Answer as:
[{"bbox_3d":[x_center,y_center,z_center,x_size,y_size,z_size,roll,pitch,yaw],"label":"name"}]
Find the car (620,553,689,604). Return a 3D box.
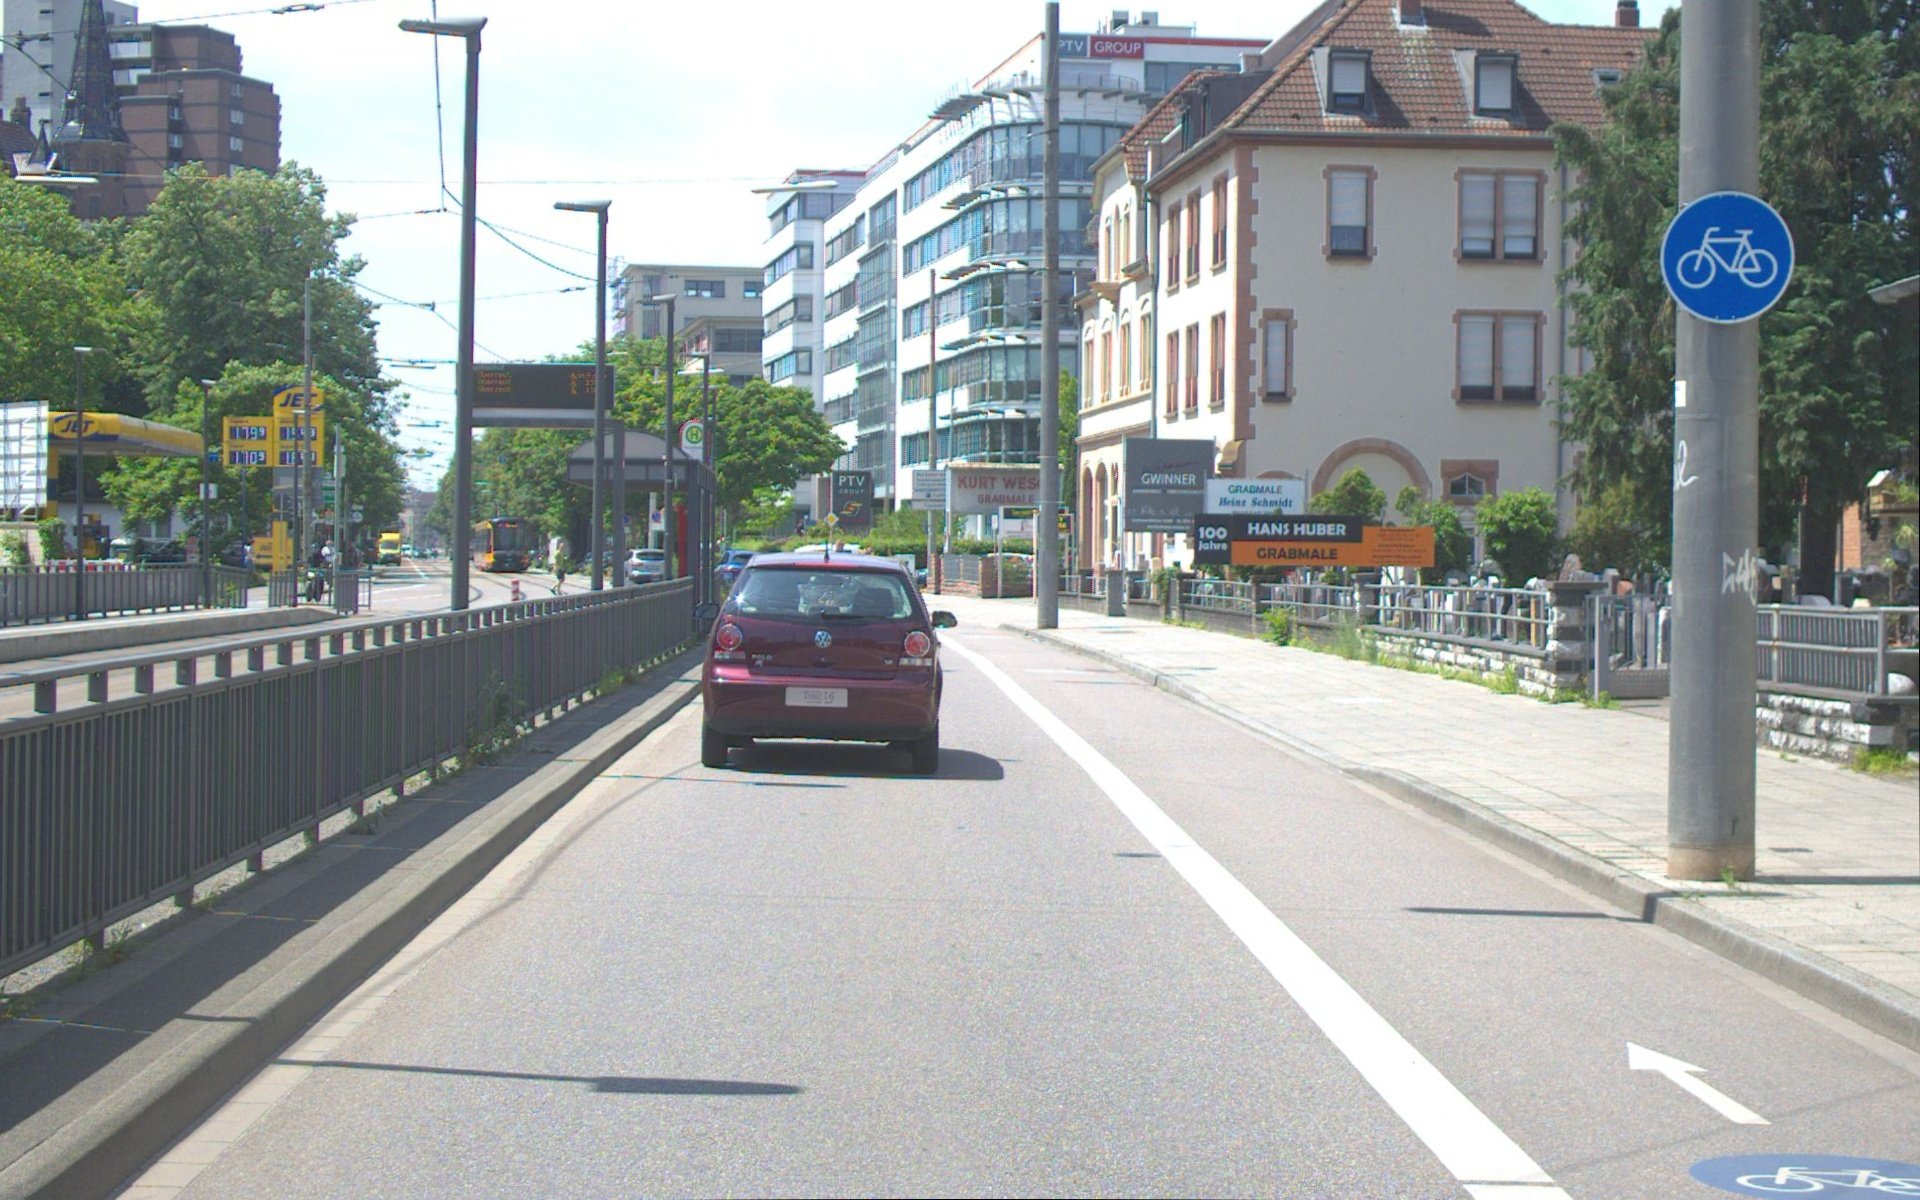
[{"bbox_3d":[-11.684,-0.825,131.476,1.993,1.842,4.001,0,2,-15],"label":"car"}]

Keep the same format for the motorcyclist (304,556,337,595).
[{"bbox_3d":[-18.548,-0.711,99.769,0.849,1.136,0.634,0,1,-1],"label":"motorcyclist"}]

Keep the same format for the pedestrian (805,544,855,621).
[{"bbox_3d":[-3.091,-0.424,81.836,1.168,1.830,0.792,0,1,-4],"label":"pedestrian"}]

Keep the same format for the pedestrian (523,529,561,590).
[{"bbox_3d":[-13.880,-1.341,114.194,1.109,2.007,1.039,0,1,0],"label":"pedestrian"}]

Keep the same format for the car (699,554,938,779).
[{"bbox_3d":[-0.974,0.414,24.019,1.561,1.448,3.062,0,1,-2],"label":"car"}]

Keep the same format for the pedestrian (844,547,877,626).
[{"bbox_3d":[-2.325,-0.324,80.075,0.744,1.830,0.792,0,1,-4],"label":"pedestrian"}]

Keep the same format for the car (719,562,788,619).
[{"bbox_3d":[-6.126,-0.307,102.387,1.993,1.619,4.632,0,1,-3],"label":"car"}]

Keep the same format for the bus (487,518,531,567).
[{"bbox_3d":[-28.235,-3.625,215.052,2.144,2.992,6.576,0,1,-13],"label":"bus"}]
